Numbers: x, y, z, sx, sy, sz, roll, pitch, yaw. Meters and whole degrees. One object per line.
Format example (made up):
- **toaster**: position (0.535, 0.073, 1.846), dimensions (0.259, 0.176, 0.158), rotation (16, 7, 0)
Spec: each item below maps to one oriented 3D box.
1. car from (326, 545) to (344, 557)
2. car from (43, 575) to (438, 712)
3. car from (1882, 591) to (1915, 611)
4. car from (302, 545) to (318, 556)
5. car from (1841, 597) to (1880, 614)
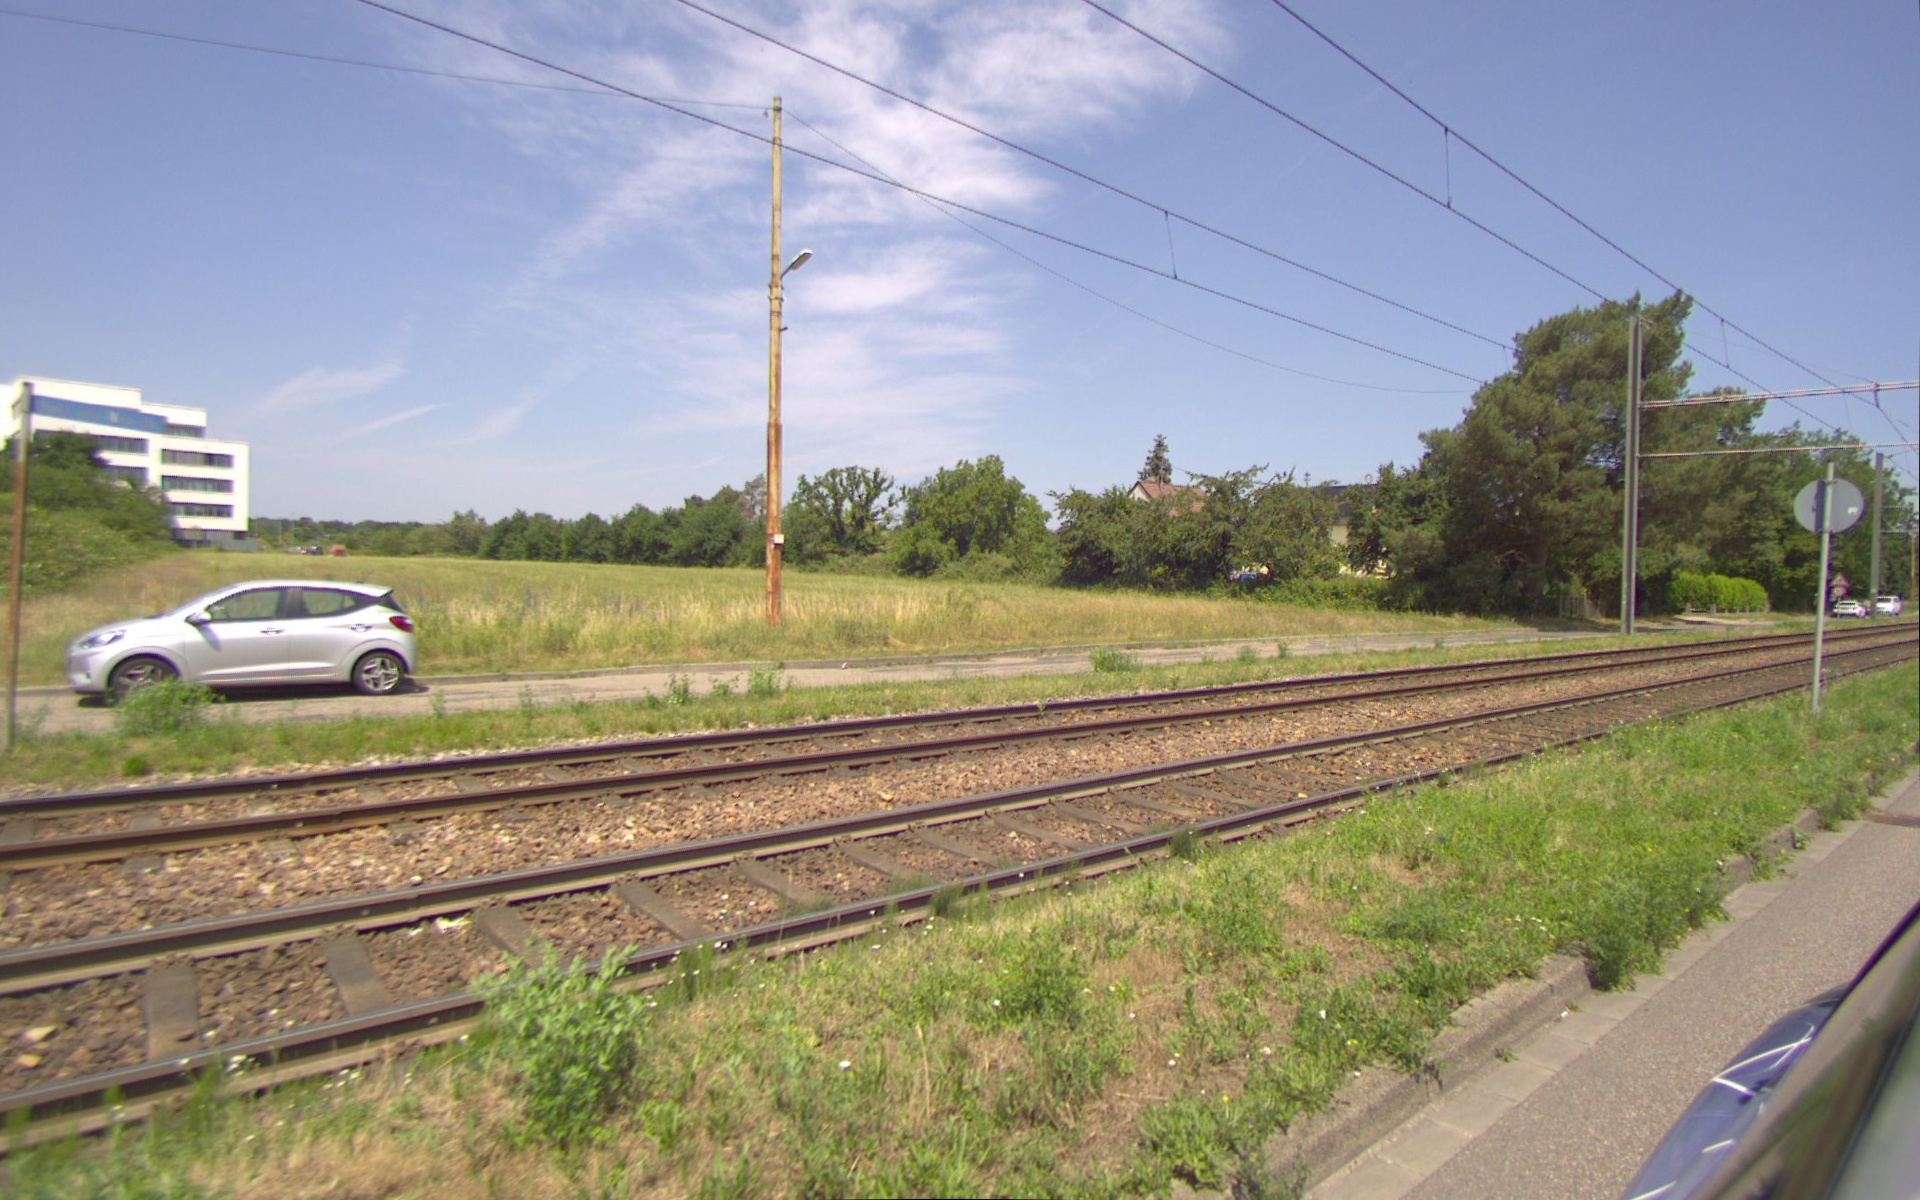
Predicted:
- **car**: position (-106.047, -8.315, 171.746), dimensions (1.834, 1.940, 4.675), rotation (0, 1, -43)
- **car**: position (-9.070, 0.452, 13.017), dimensions (3.929, 1.507, 1.717), rotation (0, 1, -39)
- **car**: position (90.767, 0.077, 97.862), dimensions (4.506, 1.849, 1.862), rotation (0, 1, -40)
- **car**: position (-118.368, -9.003, 184.311), dimensions (1.735, 1.841, 4.208), rotation (0, 1, -43)
- **car**: position (75.844, 0.439, 85.258), dimensions (3.929, 1.401, 1.922), rotation (0, 1, -40)
